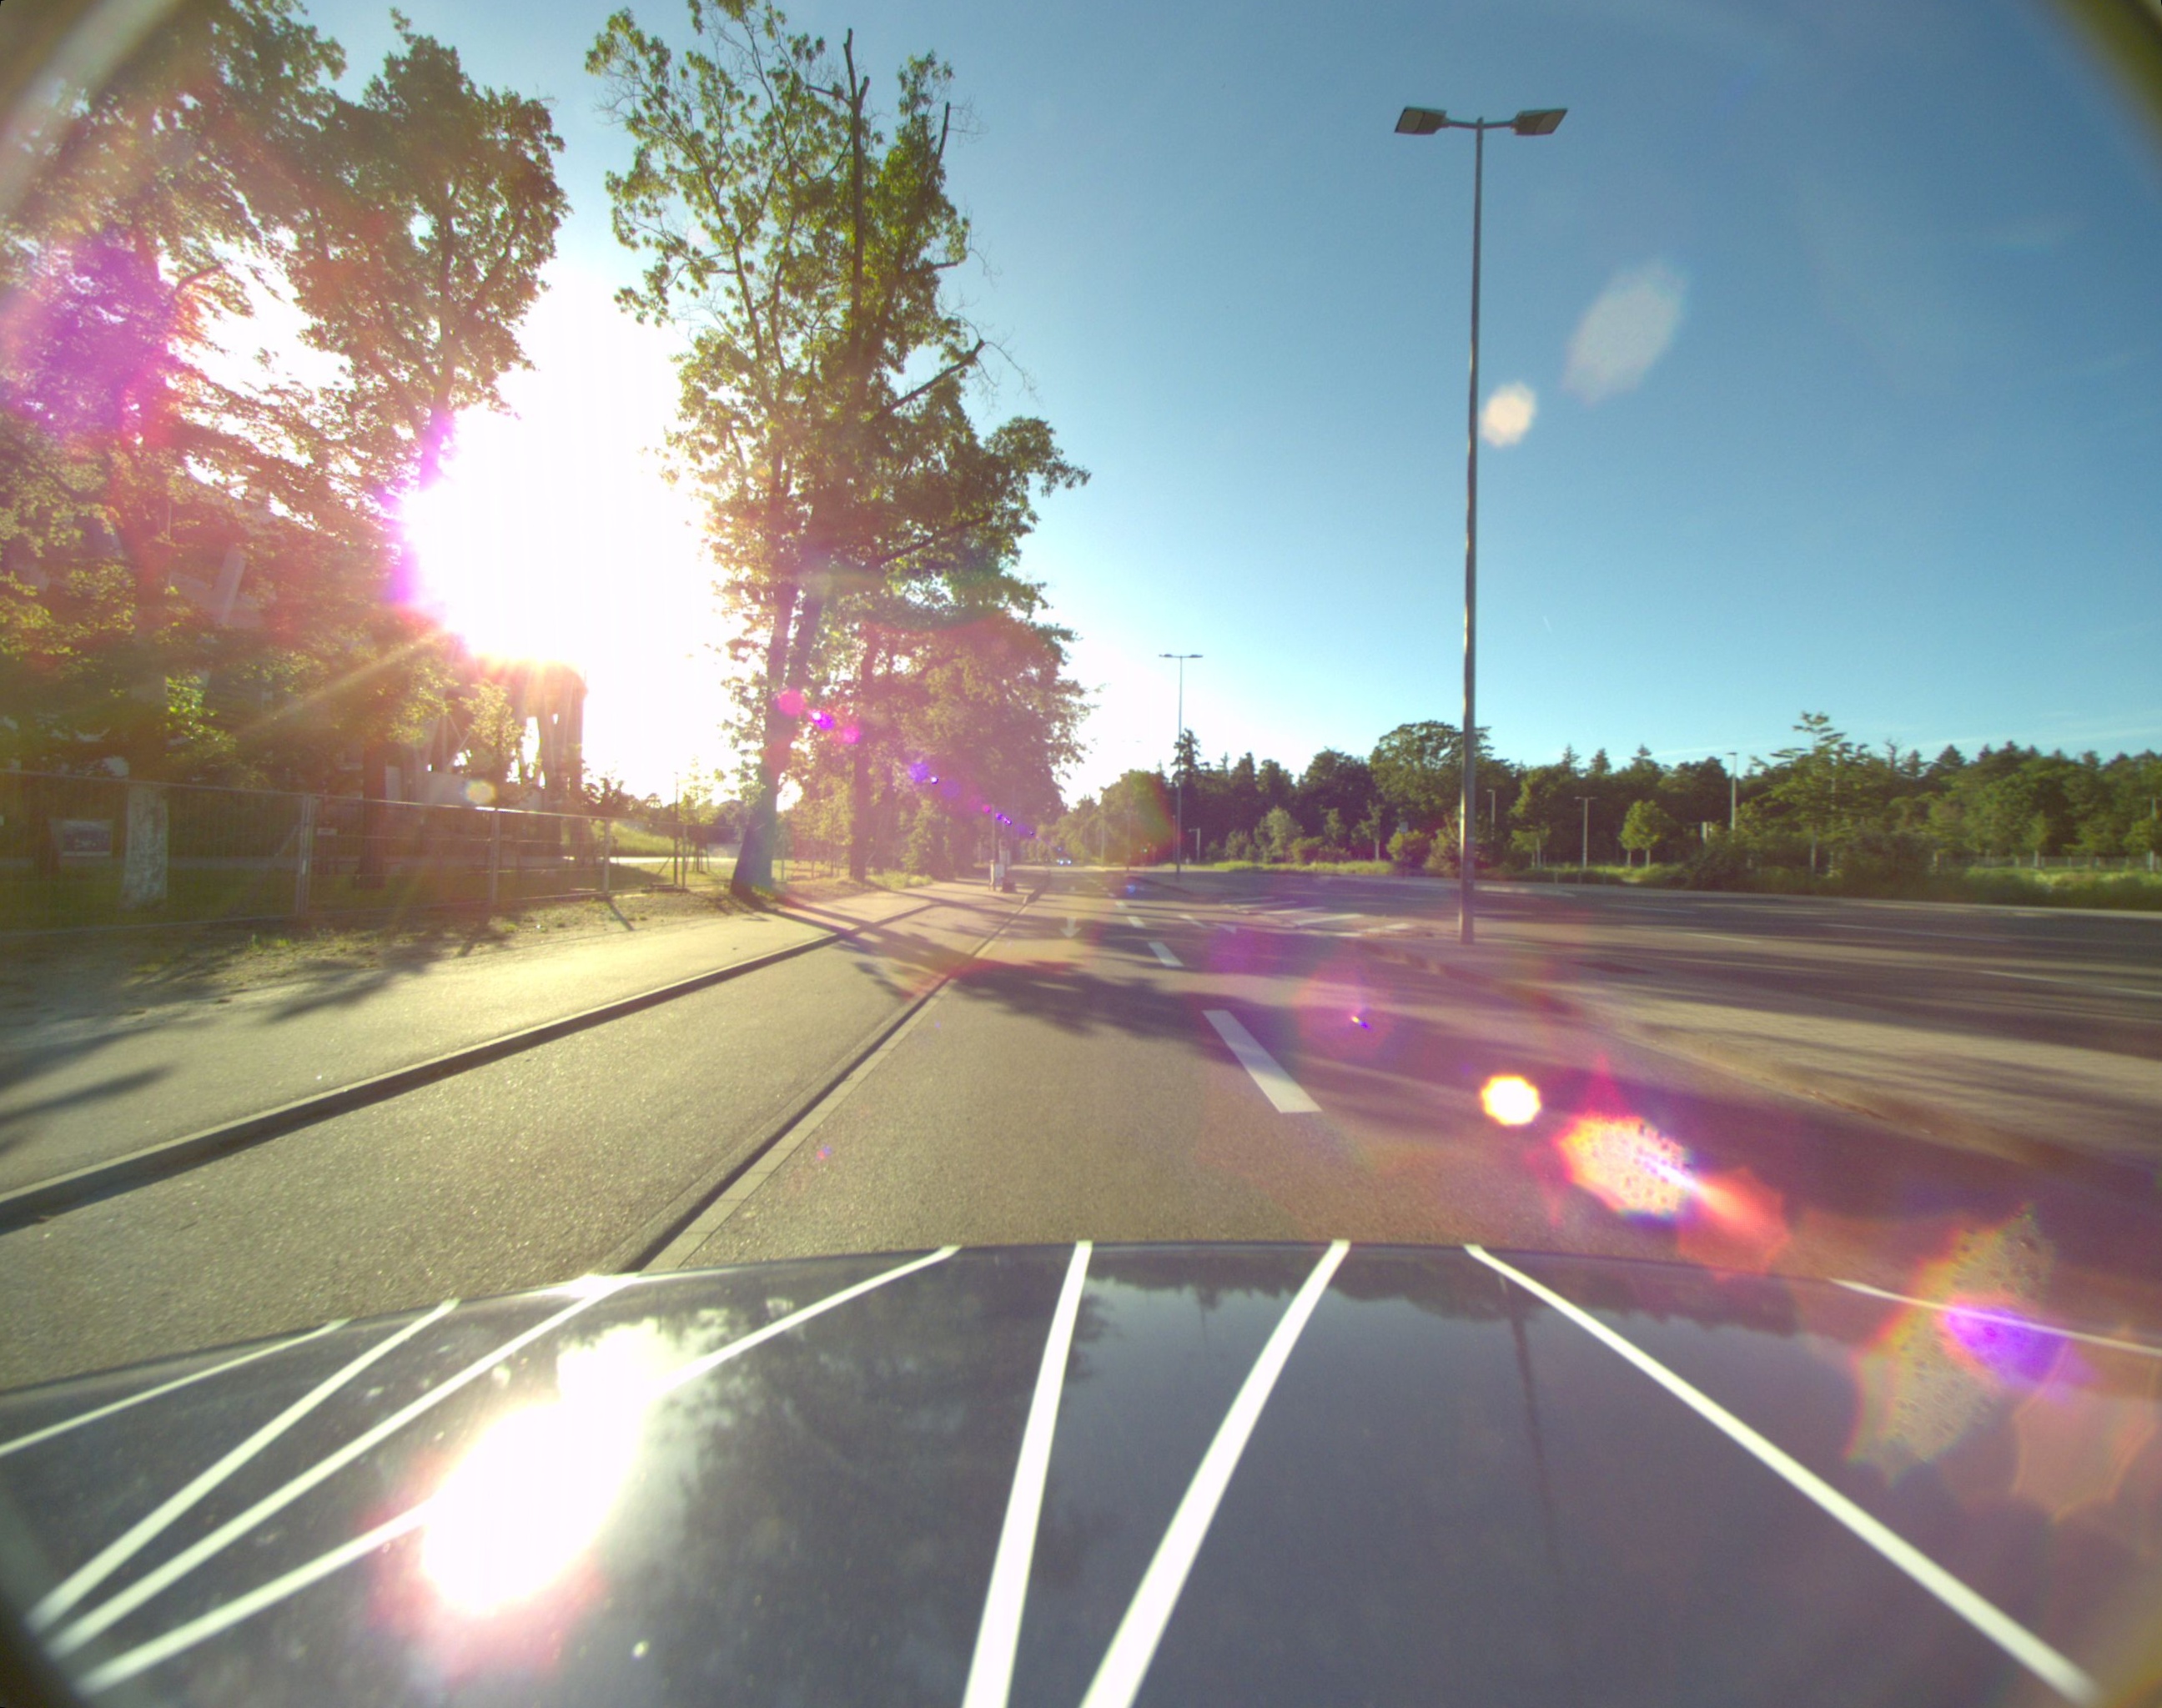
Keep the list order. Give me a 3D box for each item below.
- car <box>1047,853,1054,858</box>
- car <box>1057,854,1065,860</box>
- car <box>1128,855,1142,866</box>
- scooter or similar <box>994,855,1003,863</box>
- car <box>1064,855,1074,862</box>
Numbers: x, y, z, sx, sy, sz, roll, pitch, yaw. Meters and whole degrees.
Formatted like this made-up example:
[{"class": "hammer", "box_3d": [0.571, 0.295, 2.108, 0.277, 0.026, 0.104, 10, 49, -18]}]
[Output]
[{"class": "car", "box_3d": [-8.806, 0.496, 218.132, 1.842, 1.395, 4.989, 1, 0, -5]}, {"class": "car", "box_3d": [-4.692, 0.723, 179.105, 1.841, 1.395, 4.990, -1, 0, -3]}, {"class": "car", "box_3d": [8.418, 0.971, 118.823, 1.788, 1.682, 4.701, -1, 0, -2]}, {"class": "scooter or similar", "box_3d": [-12.233, 0.708, 112.904, 1.303, 1.230, 0.334, 1, 0, -37]}, {"class": "car", "box_3d": [-2.443, 0.920, 148.729, 1.841, 1.395, 3.999, -1, 0, -2]}]
